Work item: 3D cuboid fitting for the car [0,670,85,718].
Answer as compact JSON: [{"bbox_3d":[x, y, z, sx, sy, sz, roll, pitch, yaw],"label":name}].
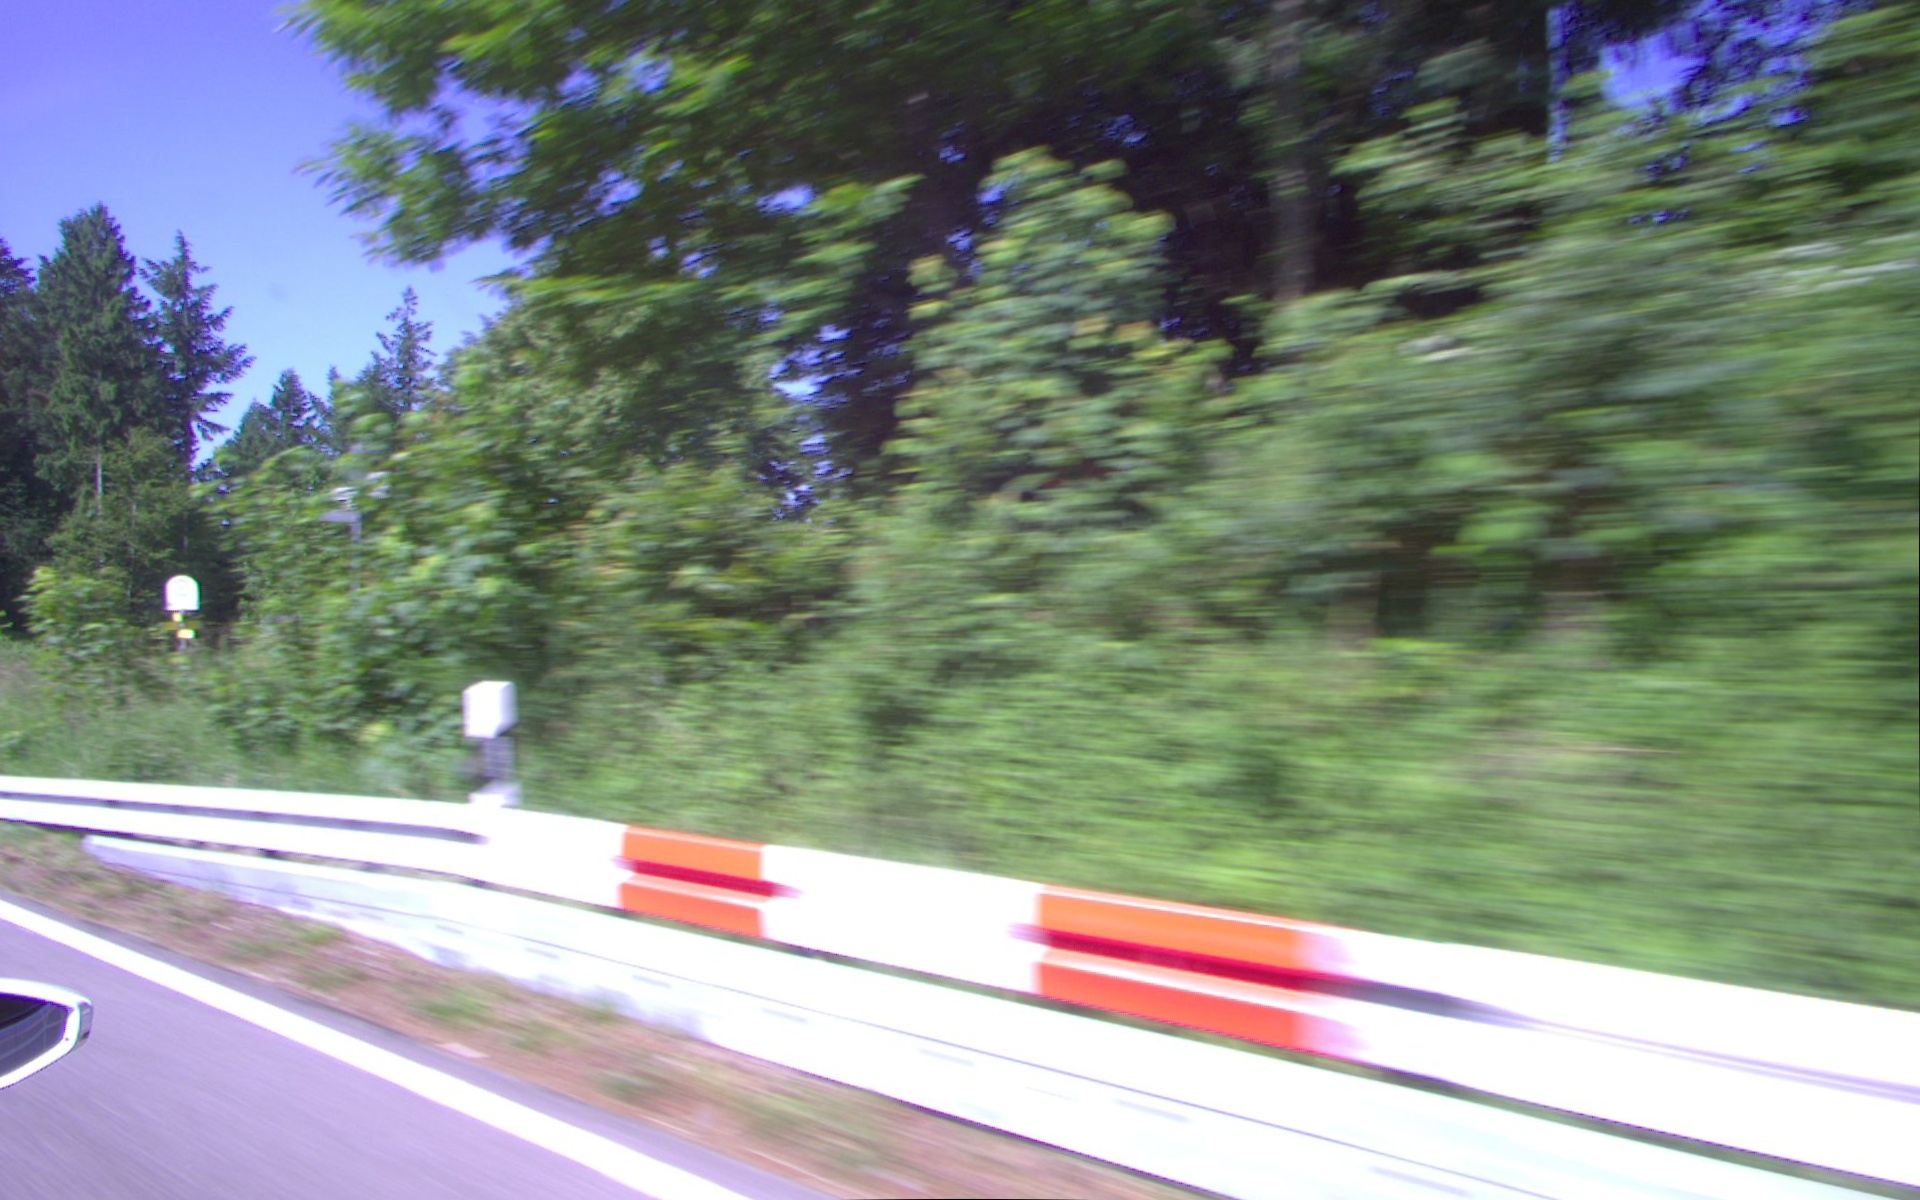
[{"bbox_3d":[-37.223,3.783,40.545,1.915,1.612,3.979,8,-6,-31],"label":"car"}]
